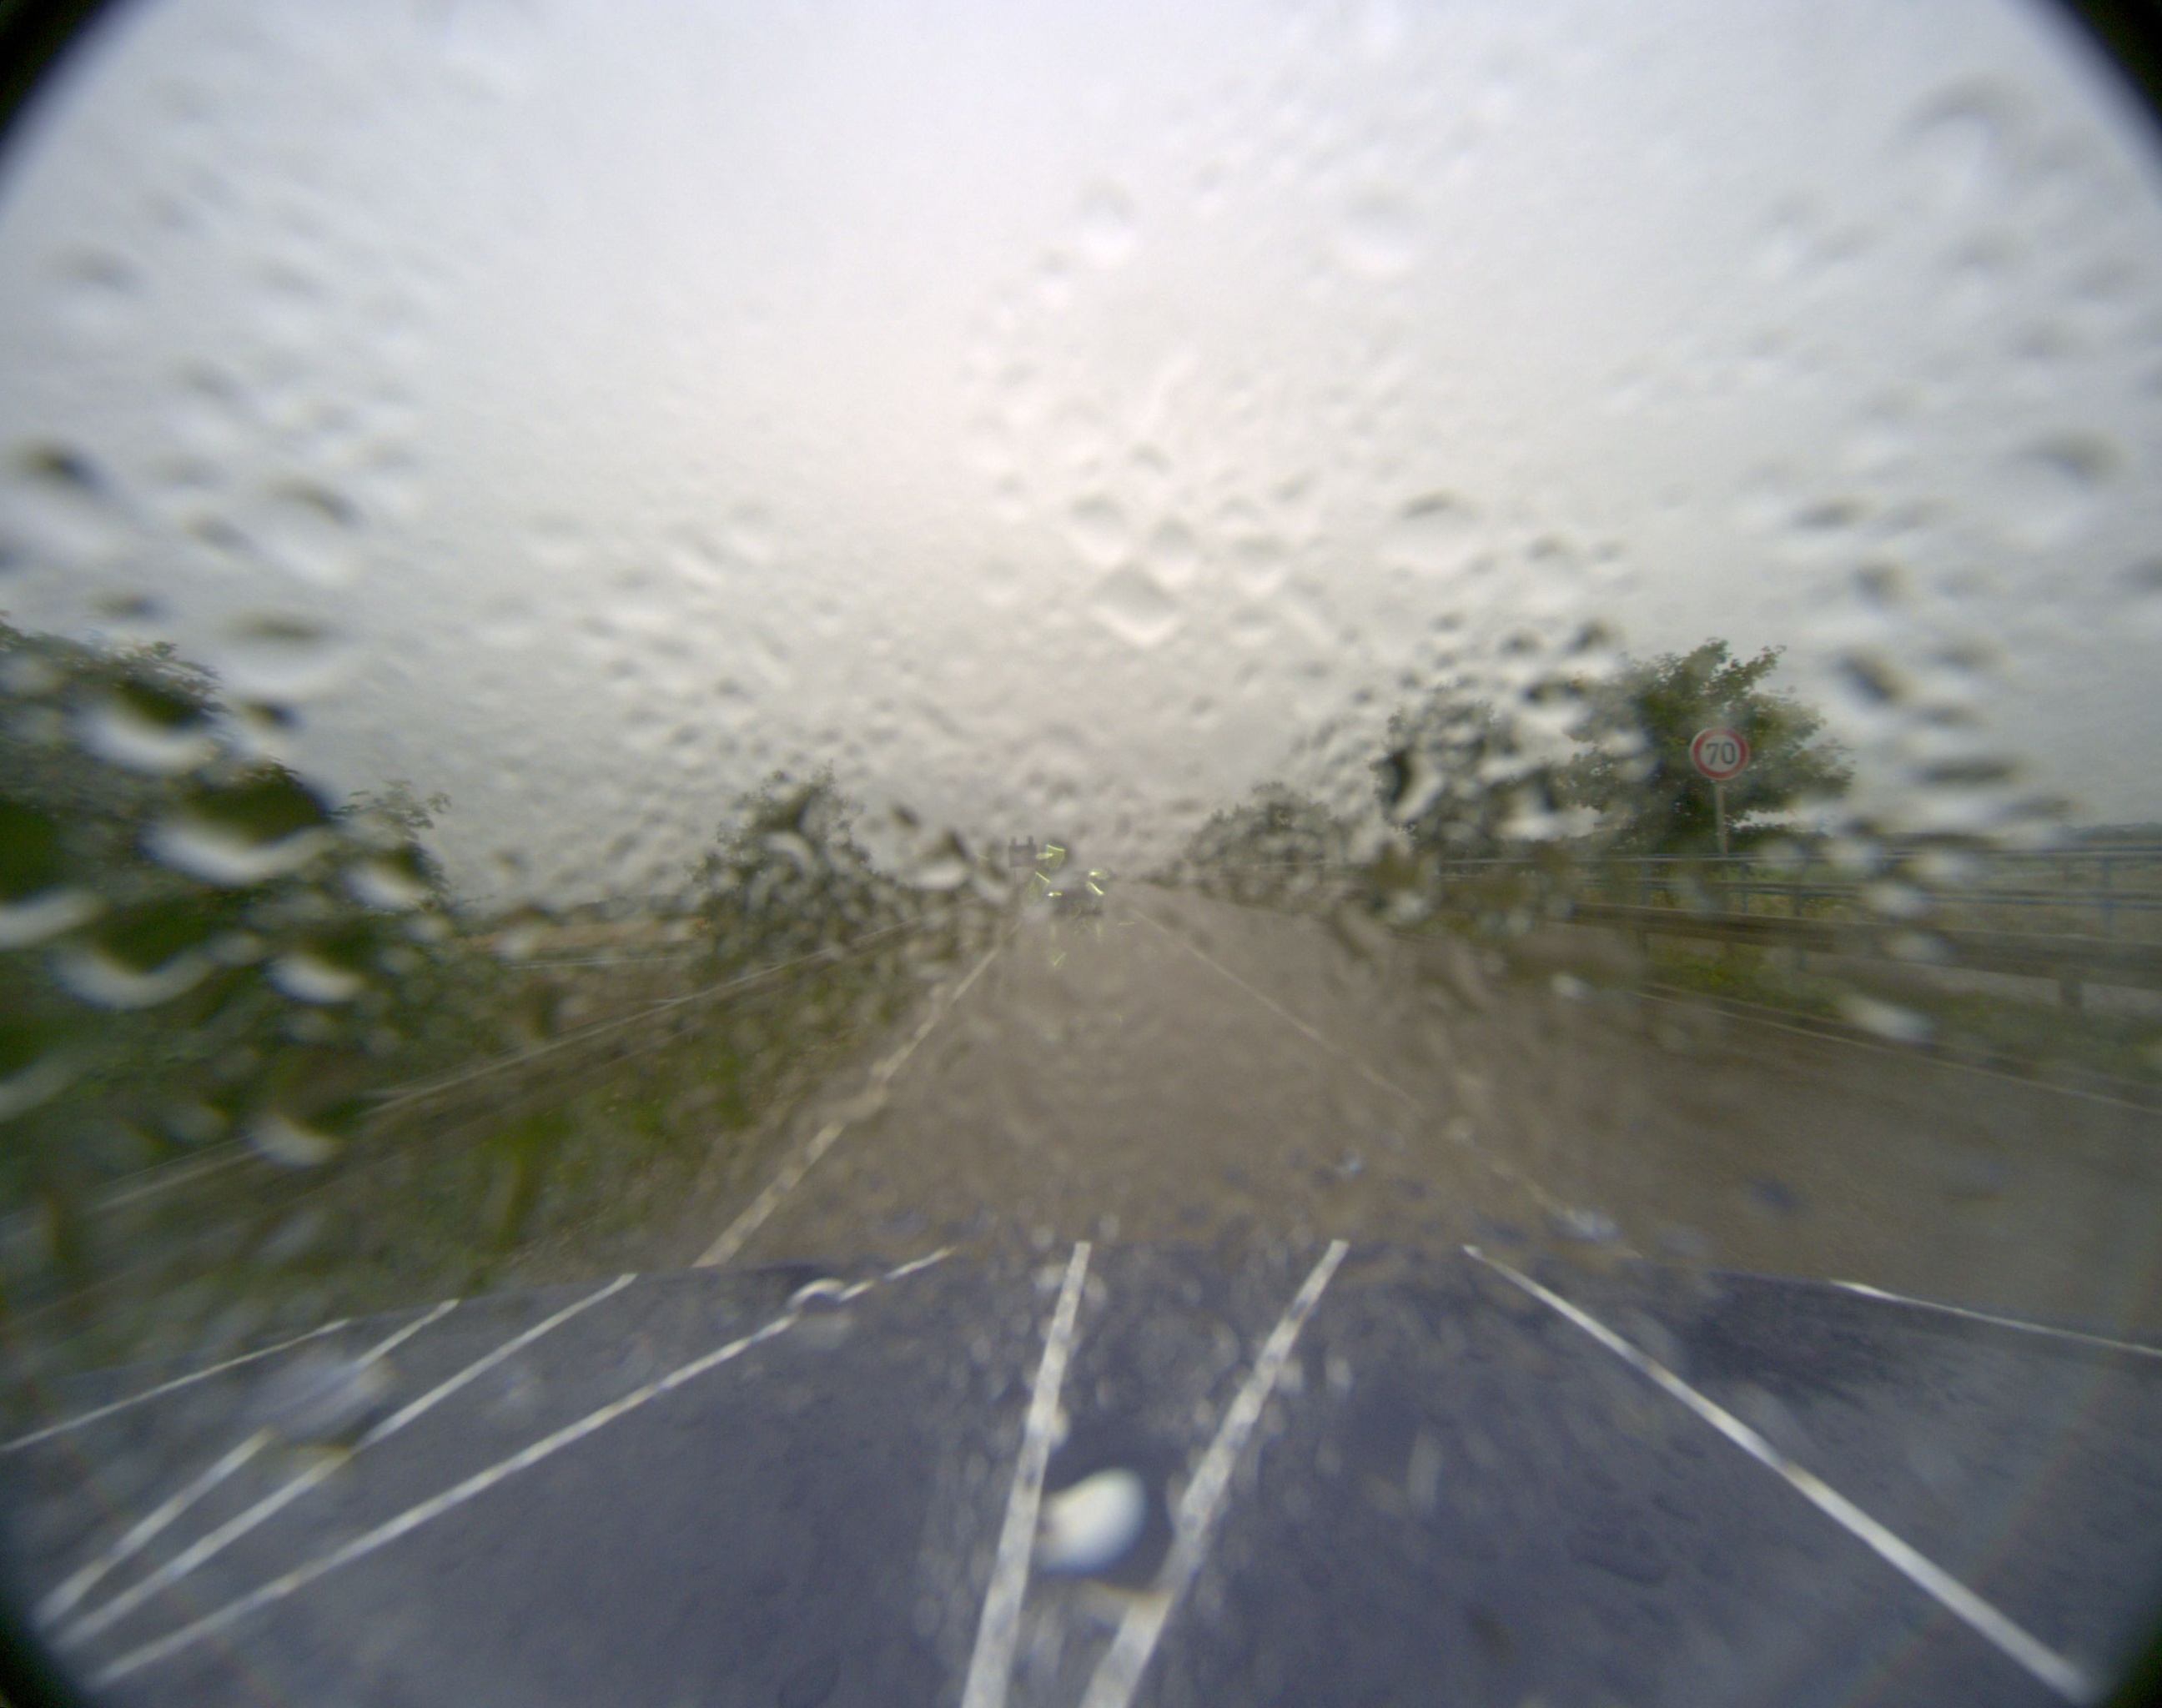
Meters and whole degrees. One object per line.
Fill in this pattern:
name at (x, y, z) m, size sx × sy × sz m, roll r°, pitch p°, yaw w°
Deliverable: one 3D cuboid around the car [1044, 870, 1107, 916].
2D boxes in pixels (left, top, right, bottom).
car at (-0.276, 1.267, 26.089) m, size 1.910 × 1.361 × 4.565 m, roll -2°, pitch -1°, yaw -2°
